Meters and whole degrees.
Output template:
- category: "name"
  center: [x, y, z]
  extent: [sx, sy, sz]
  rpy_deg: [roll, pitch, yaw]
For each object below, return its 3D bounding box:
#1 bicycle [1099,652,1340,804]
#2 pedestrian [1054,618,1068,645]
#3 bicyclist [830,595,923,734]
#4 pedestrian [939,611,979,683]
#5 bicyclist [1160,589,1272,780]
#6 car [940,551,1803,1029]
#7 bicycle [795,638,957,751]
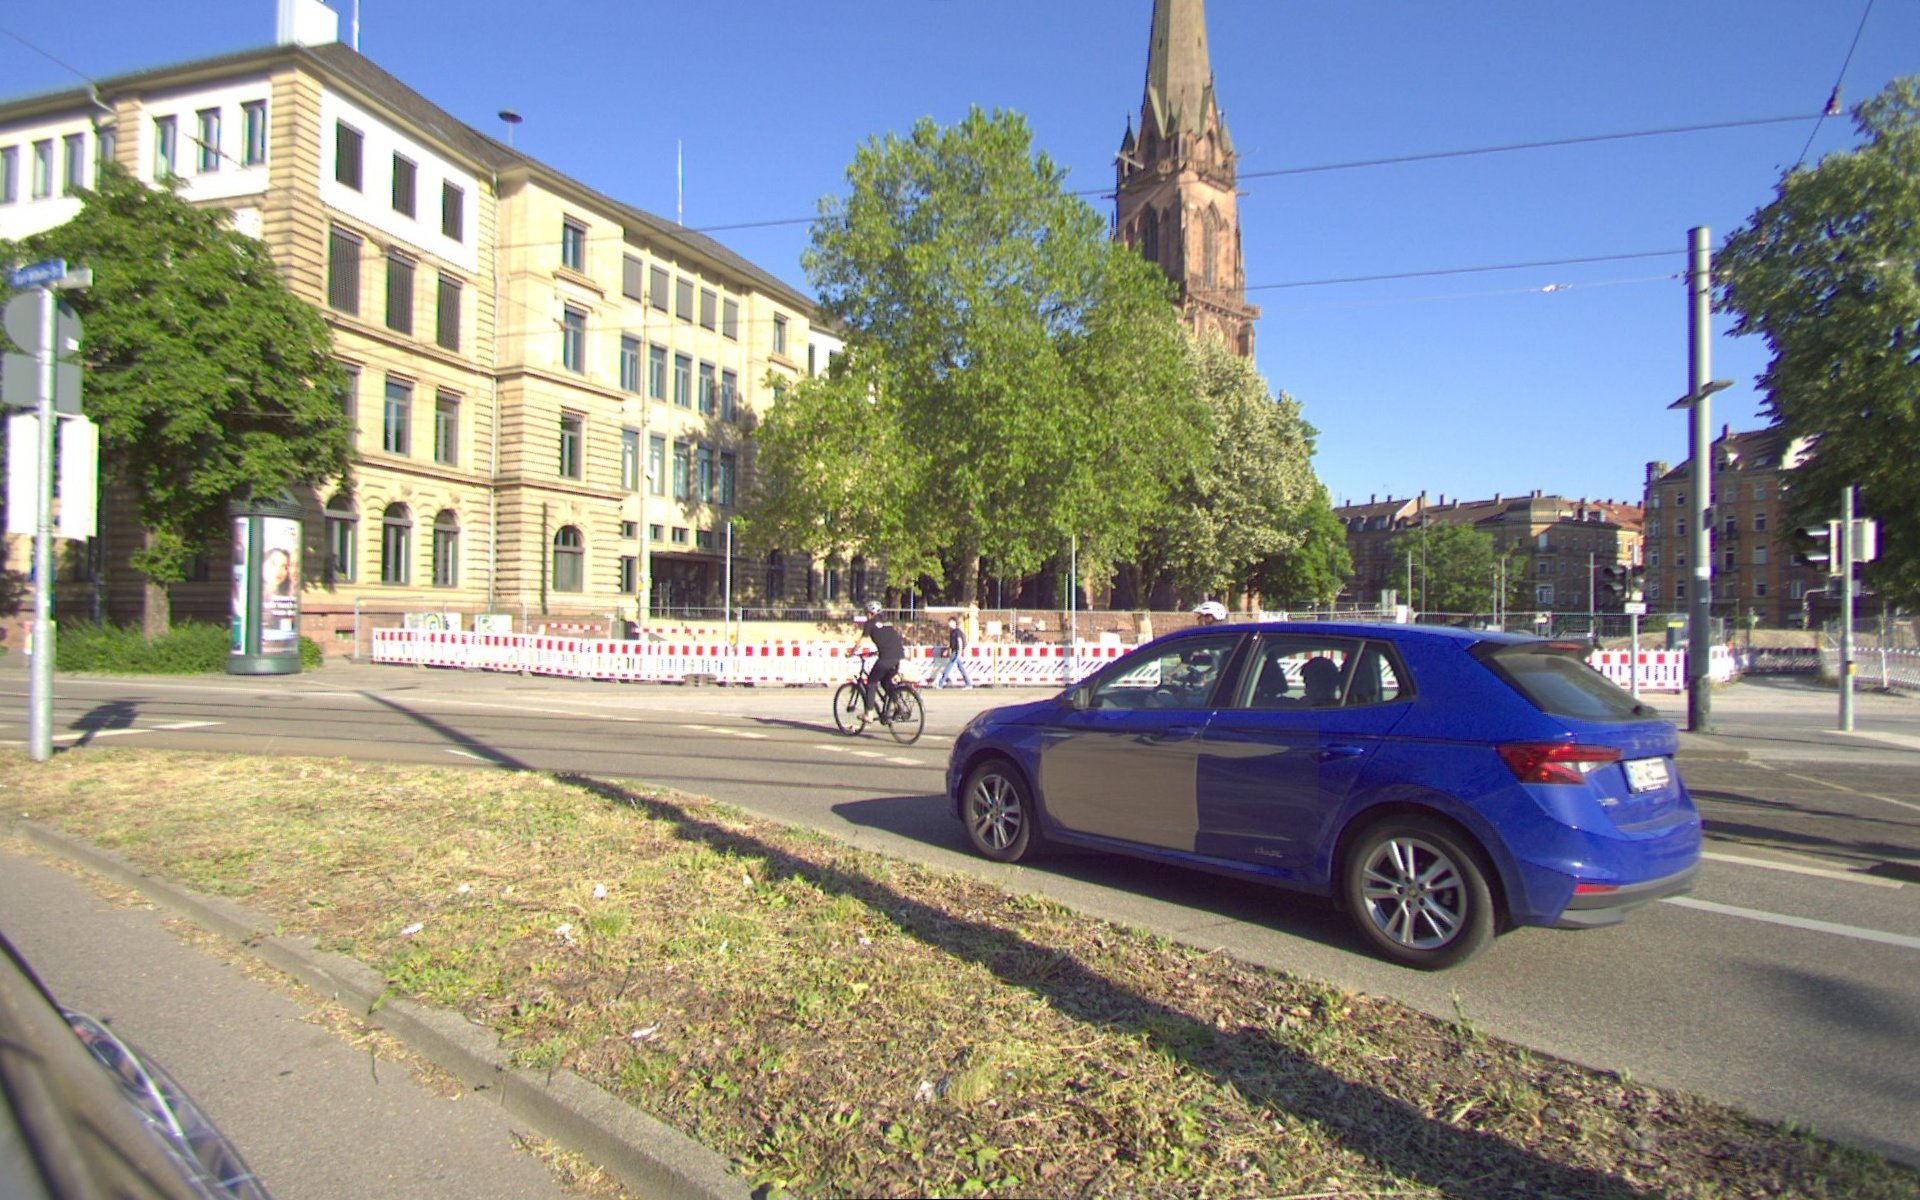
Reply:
- category: "bicycle"
  center: [2.340, 1.111, 9.408]
  extent: [0.666, 1.189, 2.186]
  rpy_deg: [2, -2, -41]
- category: "pedestrian"
  center: [6.361, 1.965, 63.615]
  extent: [0.675, 1.660, 0.629]
  rpy_deg: [-1, -1, 39]
- category: "bicyclist"
  center: [-1.050, 0.801, 12.720]
  extent: [0.700, 1.670, 0.902]
  rpy_deg: [5, -4, -41]
- category: "pedestrian"
  center: [-0.020, 1.154, 24.928]
  extent: [0.888, 1.710, 0.711]
  rpy_deg: [2, -2, 0]
- category: "bicyclist"
  center: [2.371, 0.753, 9.390]
  extent: [0.700, 1.670, 0.744]
  rpy_deg: [2, -2, -41]
- category: "car"
  center: [1.819, 0.683, 5.445]
  extent: [1.715, 1.586, 3.931]
  rpy_deg: [5, -3, -40]
- category: "bicycle"
  center: [-1.112, 1.137, 12.765]
  extent: [0.666, 1.260, 2.460]
  rpy_deg: [5, -4, -41]
